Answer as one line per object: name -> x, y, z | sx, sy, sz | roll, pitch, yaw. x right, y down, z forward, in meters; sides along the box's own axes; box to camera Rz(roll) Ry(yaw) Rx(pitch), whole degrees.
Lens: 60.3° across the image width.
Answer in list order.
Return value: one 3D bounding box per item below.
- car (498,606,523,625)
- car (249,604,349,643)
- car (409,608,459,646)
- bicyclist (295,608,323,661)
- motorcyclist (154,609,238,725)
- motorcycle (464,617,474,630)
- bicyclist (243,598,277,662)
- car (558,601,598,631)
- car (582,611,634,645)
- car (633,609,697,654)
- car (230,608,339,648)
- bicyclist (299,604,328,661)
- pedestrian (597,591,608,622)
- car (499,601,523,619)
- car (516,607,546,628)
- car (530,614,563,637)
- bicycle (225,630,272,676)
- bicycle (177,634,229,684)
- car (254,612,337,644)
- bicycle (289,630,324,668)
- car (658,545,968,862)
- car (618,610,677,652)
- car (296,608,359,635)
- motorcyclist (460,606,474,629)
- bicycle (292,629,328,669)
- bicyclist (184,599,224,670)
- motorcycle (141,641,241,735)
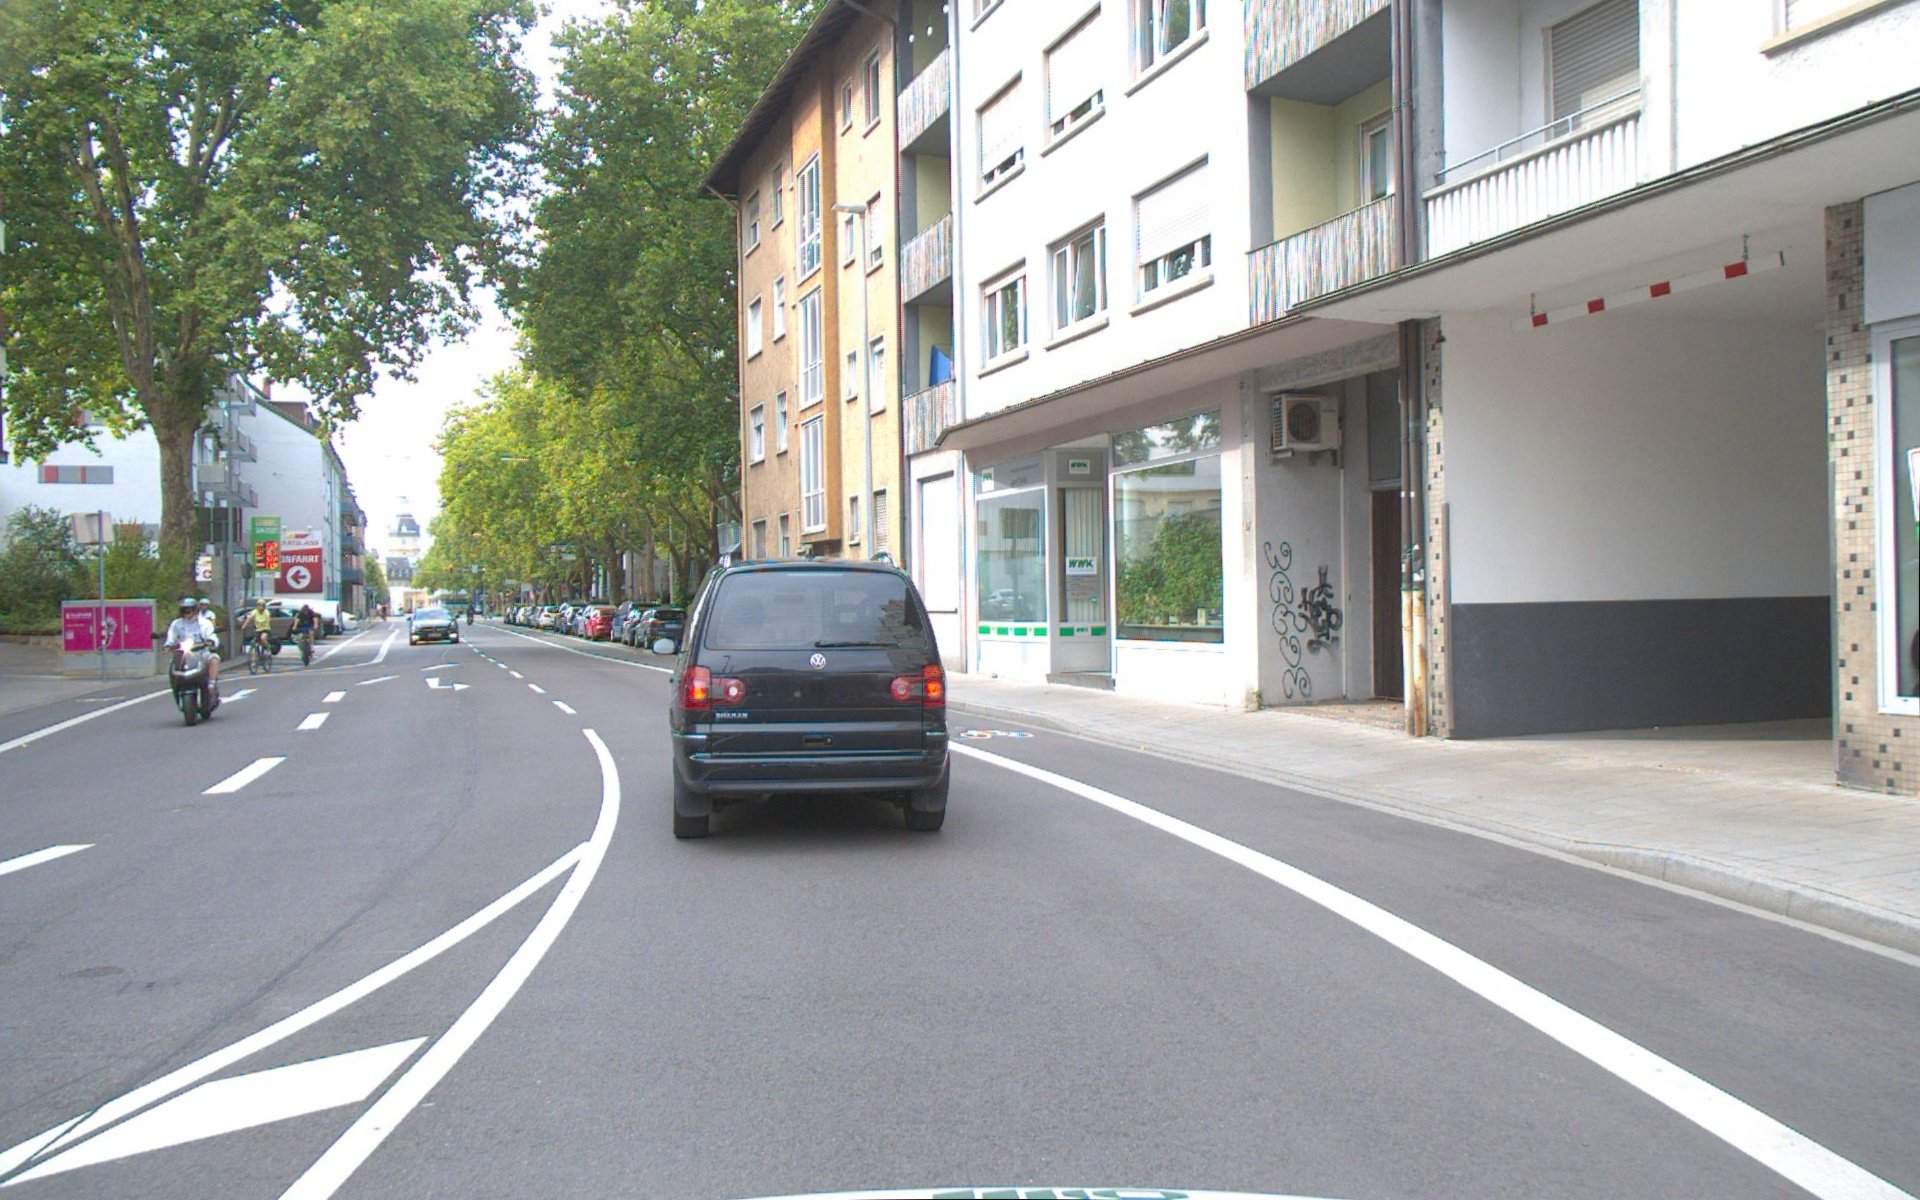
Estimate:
car -> -36.314, 1.238, 133.460 | 1.651, 1.418, 3.856 | -1, 0, -19
car -> -32.944, 1.157, 82.576 | 4.456, 1.911, 2.036 | 1, 0, -18
car -> -21.113, 1.059, 66.313 | 1.783, 1.432, 4.584 | -2, 0, -19
bicyclist -> -19.797, 1.040, 50.292 | 0.646, 1.552, 1.072 | 0, 1, -14
motorcyclist -> -10.404, 0.896, 22.541 | 0.782, 1.486, 0.862 | -3, 0, -12
motorcycle -> -38.207, 1.851, 128.704 | 0.616, 0.946, 2.390 | -1, 0, -18
bicyclist -> -17.488, 0.741, 41.330 | 0.646, 1.552, 0.837 | 0, 1, -14
car -> -20.229, 0.827, 87.419 | 1.605, 1.495, 4.293 | -1, 0, -19
car -> -15.461, 1.191, 72.534 | 1.651, 1.418, 4.435 | -1, 0, -19
car -> -10.485, 1.084, 58.618 | 1.633, 1.446, 3.845 | -2, 1, -19
car -> -29.221, 1.202, 71.675 | 4.191, 1.633, 1.958 | 0, 1, -18
bicyclist -> -18.161, 0.913, 46.456 | 0.646, 1.552, 0.853 | 0, 1, -14
pedestrian -> -23.294, 0.434, 107.899 | 0.633, 2.010, 0.689 | 0, 1, -18
car -> -37.695, 0.858, 138.847 | 1.651, 1.418, 3.856 | -1, 0, -19
car -> -31.016, 1.248, 119.571 | 1.619, 1.438, 3.393 | -1, 0, -22
car -> -26.310, 1.607, 105.162 | 1.651, 1.418, 4.435 | -1, 0, -19
bicycle -> -17.732, 1.298, 41.254 | 0.725, 1.024, 2.244 | 0, 1, -14
bicycle -> -17.055, 1.309, 37.307 | 0.725, 1.024, 1.902 | 0, 1, -14
car -> -32.112, 1.354, 80.000 | 3.627, 1.470, 1.743 | 1, 0, -20
bicycle -> -19.642, 1.455, 49.750 | 0.725, 1.024, 2.186 | 0, 1, -15
car -> -1.122, 0.559, 11.400 | 1.779, 1.797, 3.730 | 0, 1, -9
car -> -11.963, 1.164, 63.136 | 1.633, 1.446, 3.925 | -2, 1, -19
car -> -35.865, 1.236, 93.841 | 3.294, 1.523, 1.586 | 0, -1, -21
motorcyclist -> -38.400, 1.354, 128.750 | 0.939, 1.689, 1.248 | -1, 0, -19
bicycle -> -18.182, 1.361, 46.275 | 0.725, 1.024, 1.968 | 0, 1, -15
bicyclist -> -17.009, 0.764, 37.240 | 0.646, 1.552, 0.998 | 0, 1, -14
motorcycle -> -10.339, 1.152, 22.306 | 0.709, 1.113, 2.030 | -4, 0, -11
